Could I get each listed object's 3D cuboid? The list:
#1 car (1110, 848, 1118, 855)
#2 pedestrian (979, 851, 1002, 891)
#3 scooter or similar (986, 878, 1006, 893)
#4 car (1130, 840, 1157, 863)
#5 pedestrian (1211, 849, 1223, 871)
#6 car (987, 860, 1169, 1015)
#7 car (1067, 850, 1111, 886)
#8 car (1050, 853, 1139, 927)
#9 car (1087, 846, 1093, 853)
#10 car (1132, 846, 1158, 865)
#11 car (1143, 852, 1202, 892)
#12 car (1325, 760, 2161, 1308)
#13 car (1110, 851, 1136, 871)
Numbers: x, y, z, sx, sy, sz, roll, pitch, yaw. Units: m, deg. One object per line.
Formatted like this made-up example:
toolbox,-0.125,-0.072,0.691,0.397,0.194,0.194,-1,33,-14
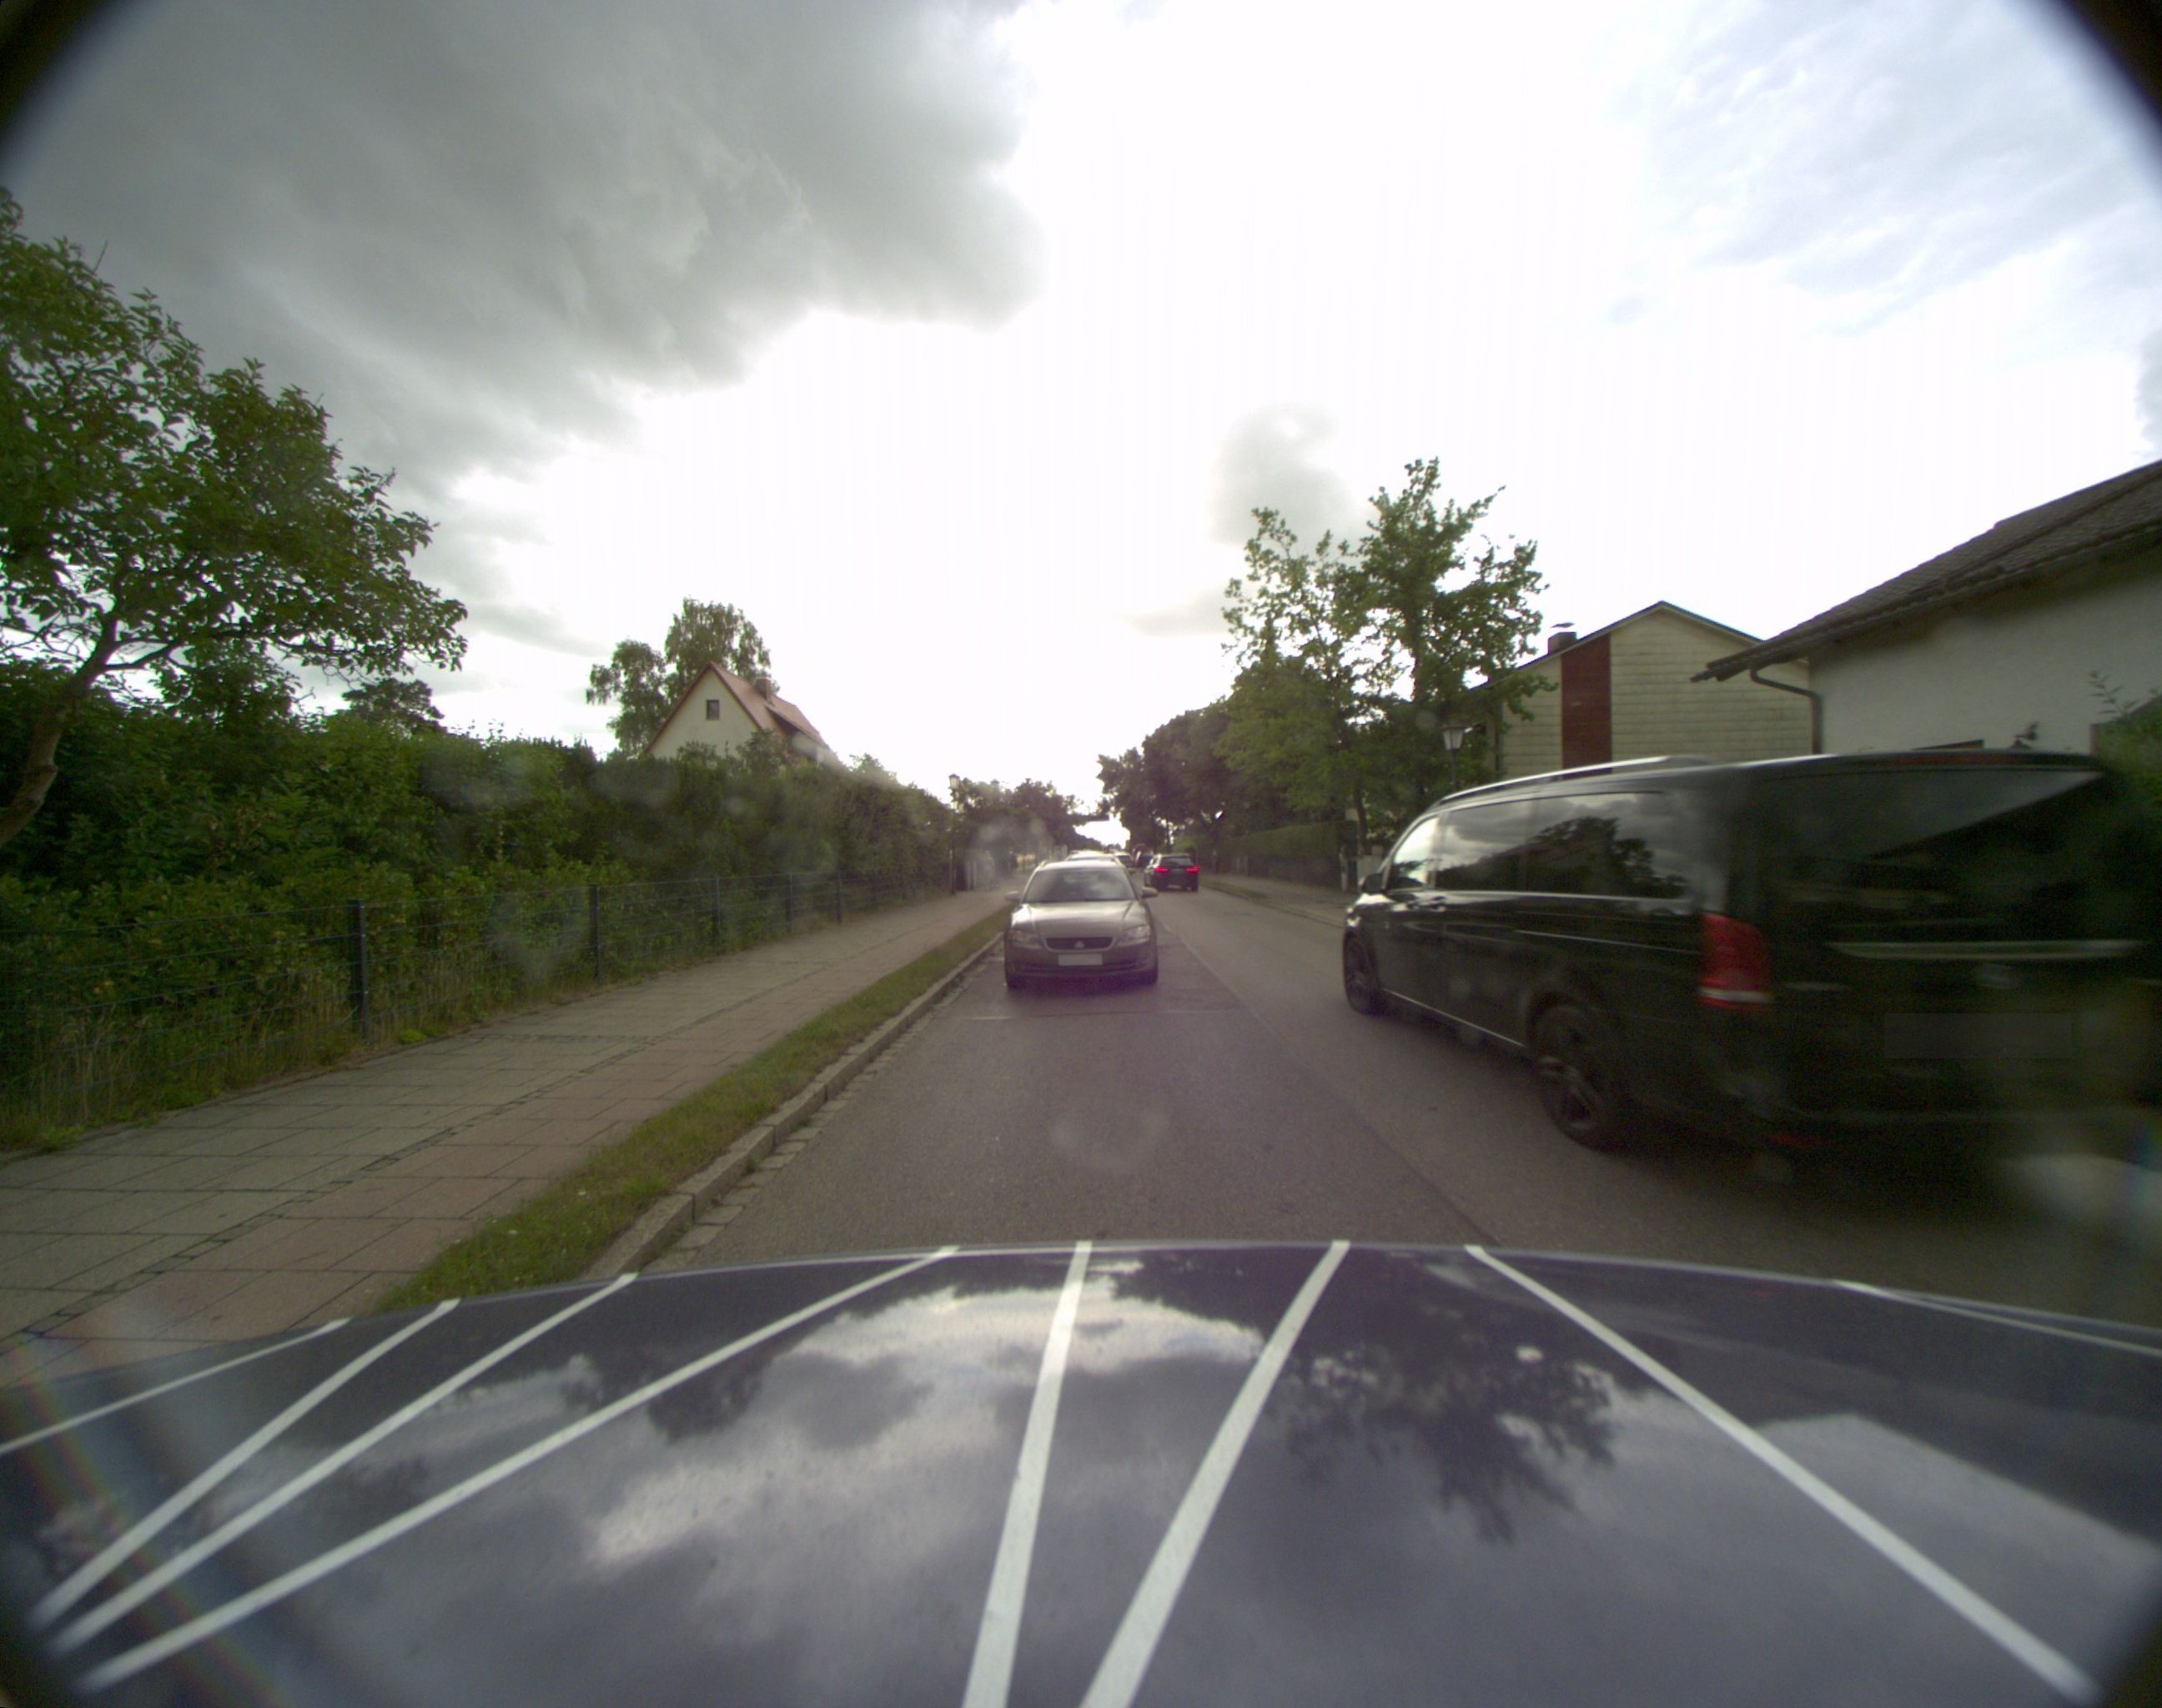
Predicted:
car,8.770,-0.675,204.684,1.998,2.002,4.000,-2,0,1
pedestrian,-3.629,0.673,30.458,0.794,1.593,0.670,-1,1,-18
scooter or similar,-3.345,1.241,29.830,0.619,0.553,0.741,-1,0,-18
car,6.478,-0.229,79.187,2.246,2.258,4.469,-2,0,-2
pedestrian,8.773,0.393,48.935,0.631,1.429,0.563,-1,1,1
car,-0.011,0.867,9.859,1.809,1.476,4.270,-2,0,0
car,0.371,0.604,35.352,1.866,1.518,4.122,-2,0,0
car,0.320,0.779,18.780,1.866,1.518,4.942,-2,0,0
car,2.800,-1.450,235.031,1.998,2.002,4.000,-1,0,1
car,6.135,0.139,73.377,1.999,1.740,3.999,-1,0,-2
car,3.681,0.677,31.199,1.851,1.445,4.548,-1,0,0
car,3.345,0.594,5.026,1.969,1.842,4.947,-1,0,2
car,3.279,0.490,60.009,1.756,1.475,4.375,-2,0,0
